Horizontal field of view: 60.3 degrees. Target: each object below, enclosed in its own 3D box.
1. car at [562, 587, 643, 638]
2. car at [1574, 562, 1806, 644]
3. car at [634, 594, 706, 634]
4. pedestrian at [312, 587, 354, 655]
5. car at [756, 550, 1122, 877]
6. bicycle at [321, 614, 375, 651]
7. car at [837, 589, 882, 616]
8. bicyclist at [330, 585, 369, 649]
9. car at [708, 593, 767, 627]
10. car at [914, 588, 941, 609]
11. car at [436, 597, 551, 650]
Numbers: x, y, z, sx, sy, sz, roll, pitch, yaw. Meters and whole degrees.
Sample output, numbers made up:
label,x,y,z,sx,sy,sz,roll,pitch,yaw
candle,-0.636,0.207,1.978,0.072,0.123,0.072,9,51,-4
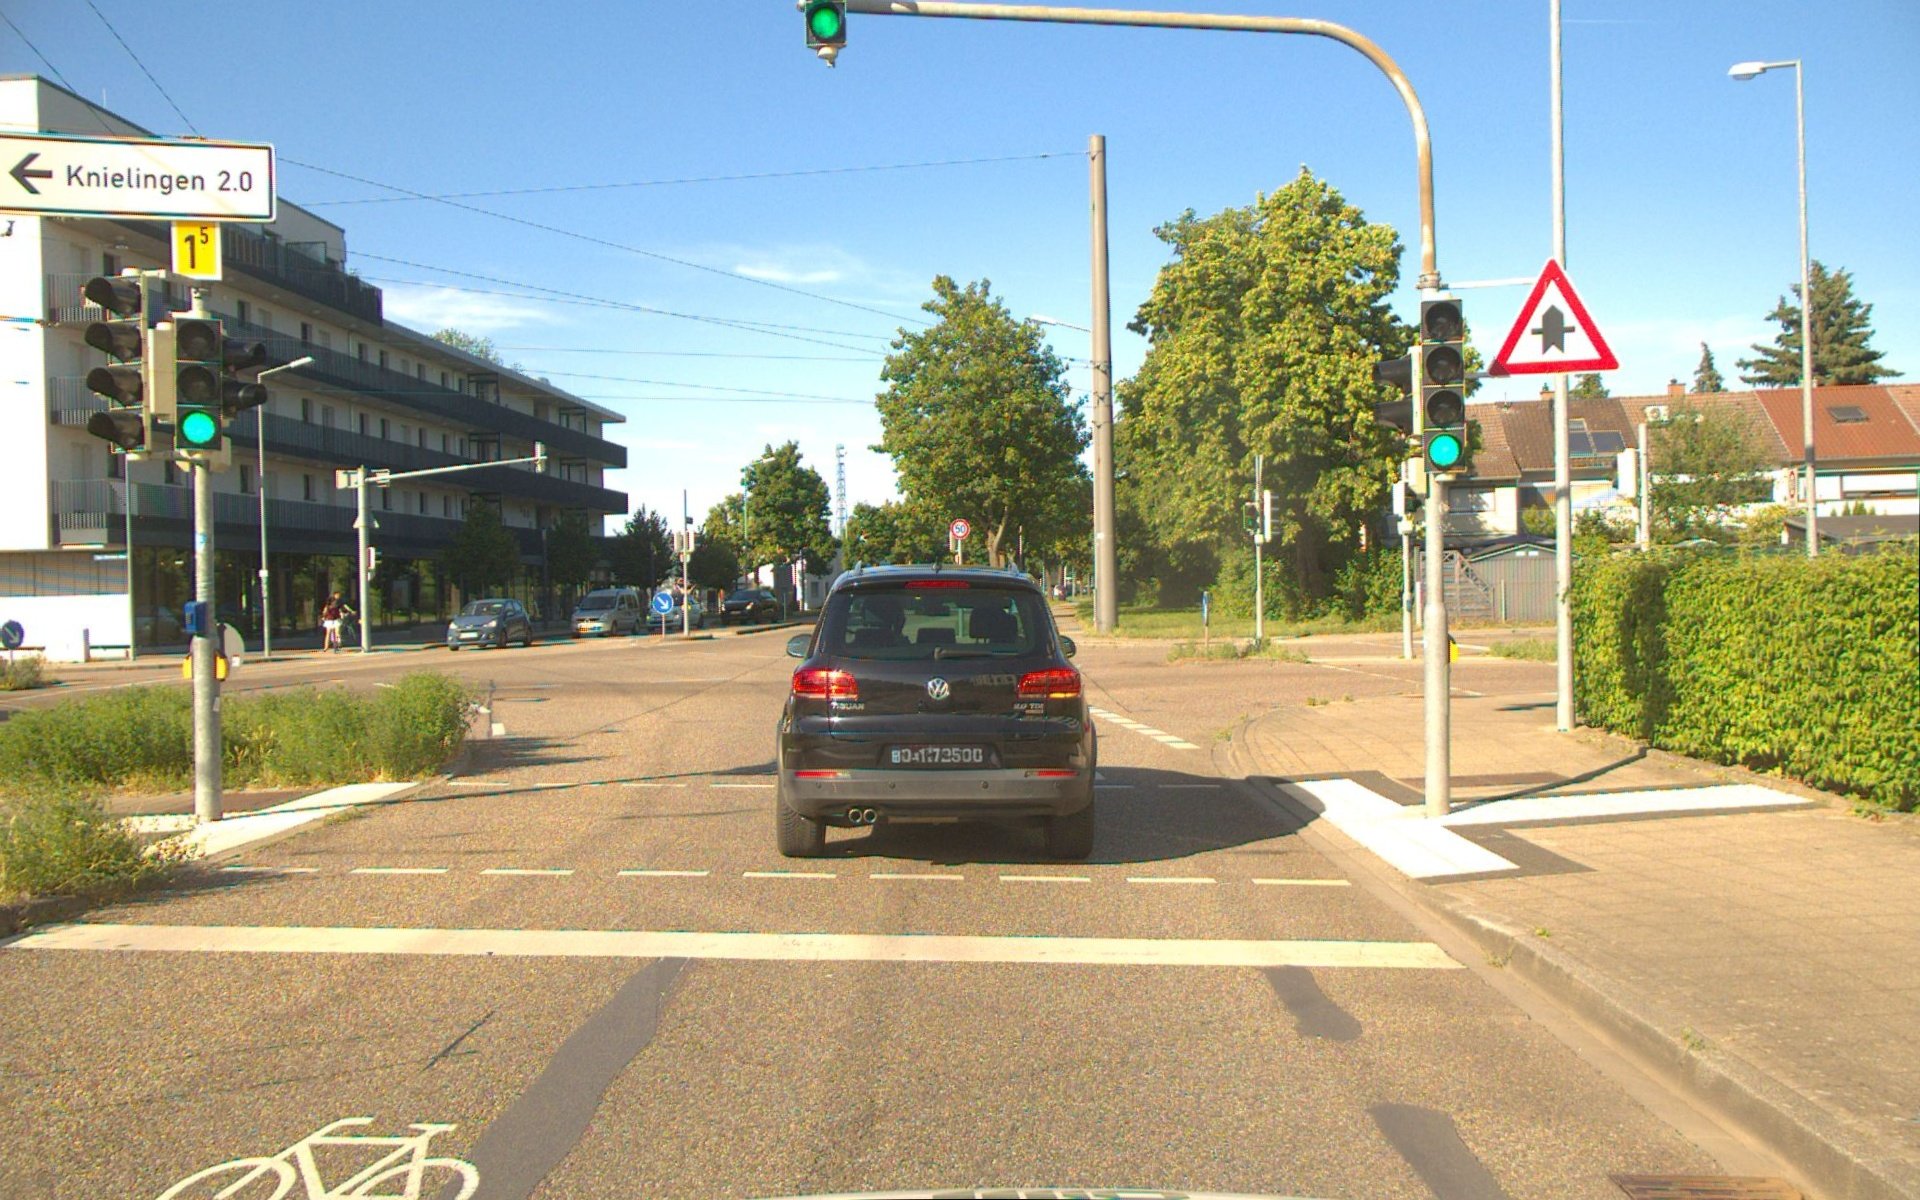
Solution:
label,x,y,z,sx,sy,sz,roll,pitch,yaw
car,-13.319,0.454,61.847,1.952,1.786,4.363,-1,0,2
car,15.352,0.053,34.963,4.079,1.616,1.947,-1,1,5
car,-12.201,0.567,69.841,1.951,1.513,3.547,-3,0,7
pedestrian,-19.337,0.629,51.008,0.957,2.049,0.760,-2,0,-1
car,-0.097,0.586,10.862,1.890,1.683,4.514,1,0,0
bicycle,-19.709,1.045,53.248,1.607,1.164,0.743,-2,0,30
car,-6.135,0.147,101.353,1.951,1.599,4.004,-2,0,9
bicyclist,-19.640,0.541,53.199,0.778,2.049,0.810,-2,0,30
car,-10.759,0.448,80.263,1.926,1.561,4.742,-2,0,3
car,-2.802,-0.126,143.356,1.952,1.768,5.201,-2,0,3
car,-14.249,0.689,50.808,1.659,1.482,4.457,-2,0,9
